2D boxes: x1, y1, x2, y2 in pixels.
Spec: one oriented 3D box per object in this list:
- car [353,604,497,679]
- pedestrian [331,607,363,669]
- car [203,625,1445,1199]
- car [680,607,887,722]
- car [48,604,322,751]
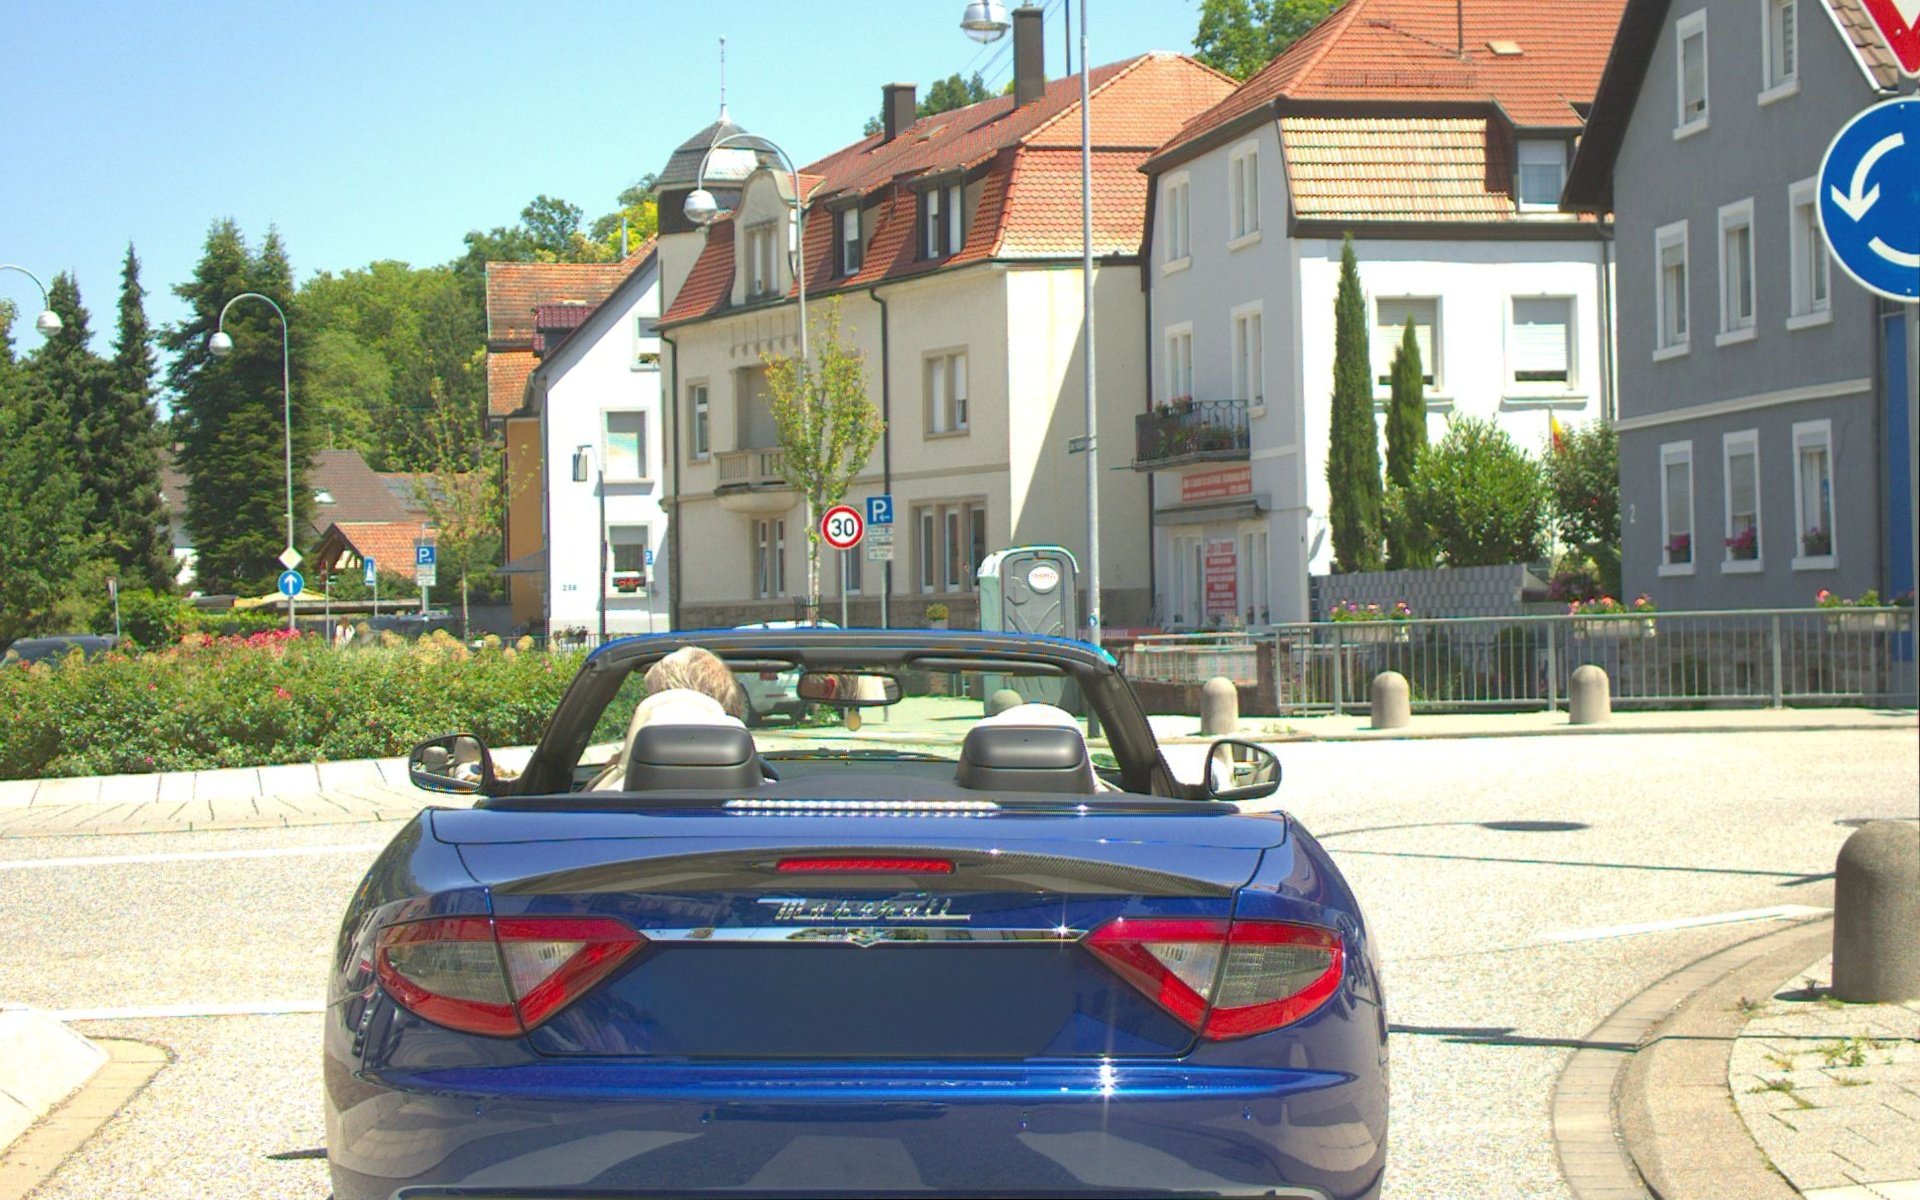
[{"bbox_3d":[-12.286,0.965,78.836,1.850,1.583,4.000,-2,0,-31],"label":"car"},{"bbox_3d":[-15.935,0.994,89.372,0.611,1.580,0.587,-2,0,-27],"label":"pedestrian"},{"bbox_3d":[-0.186,0.745,7.434,1.910,1.356,4.285,0,0,1],"label":"car"},{"bbox_3d":[-2.706,0.998,51.866,1.918,1.607,4.148,-2,-1,-20],"label":"car"},{"bbox_3d":[-9.245,0.900,41.332,1.798,1.637,4.058,-2,-1,9],"label":"car"}]
